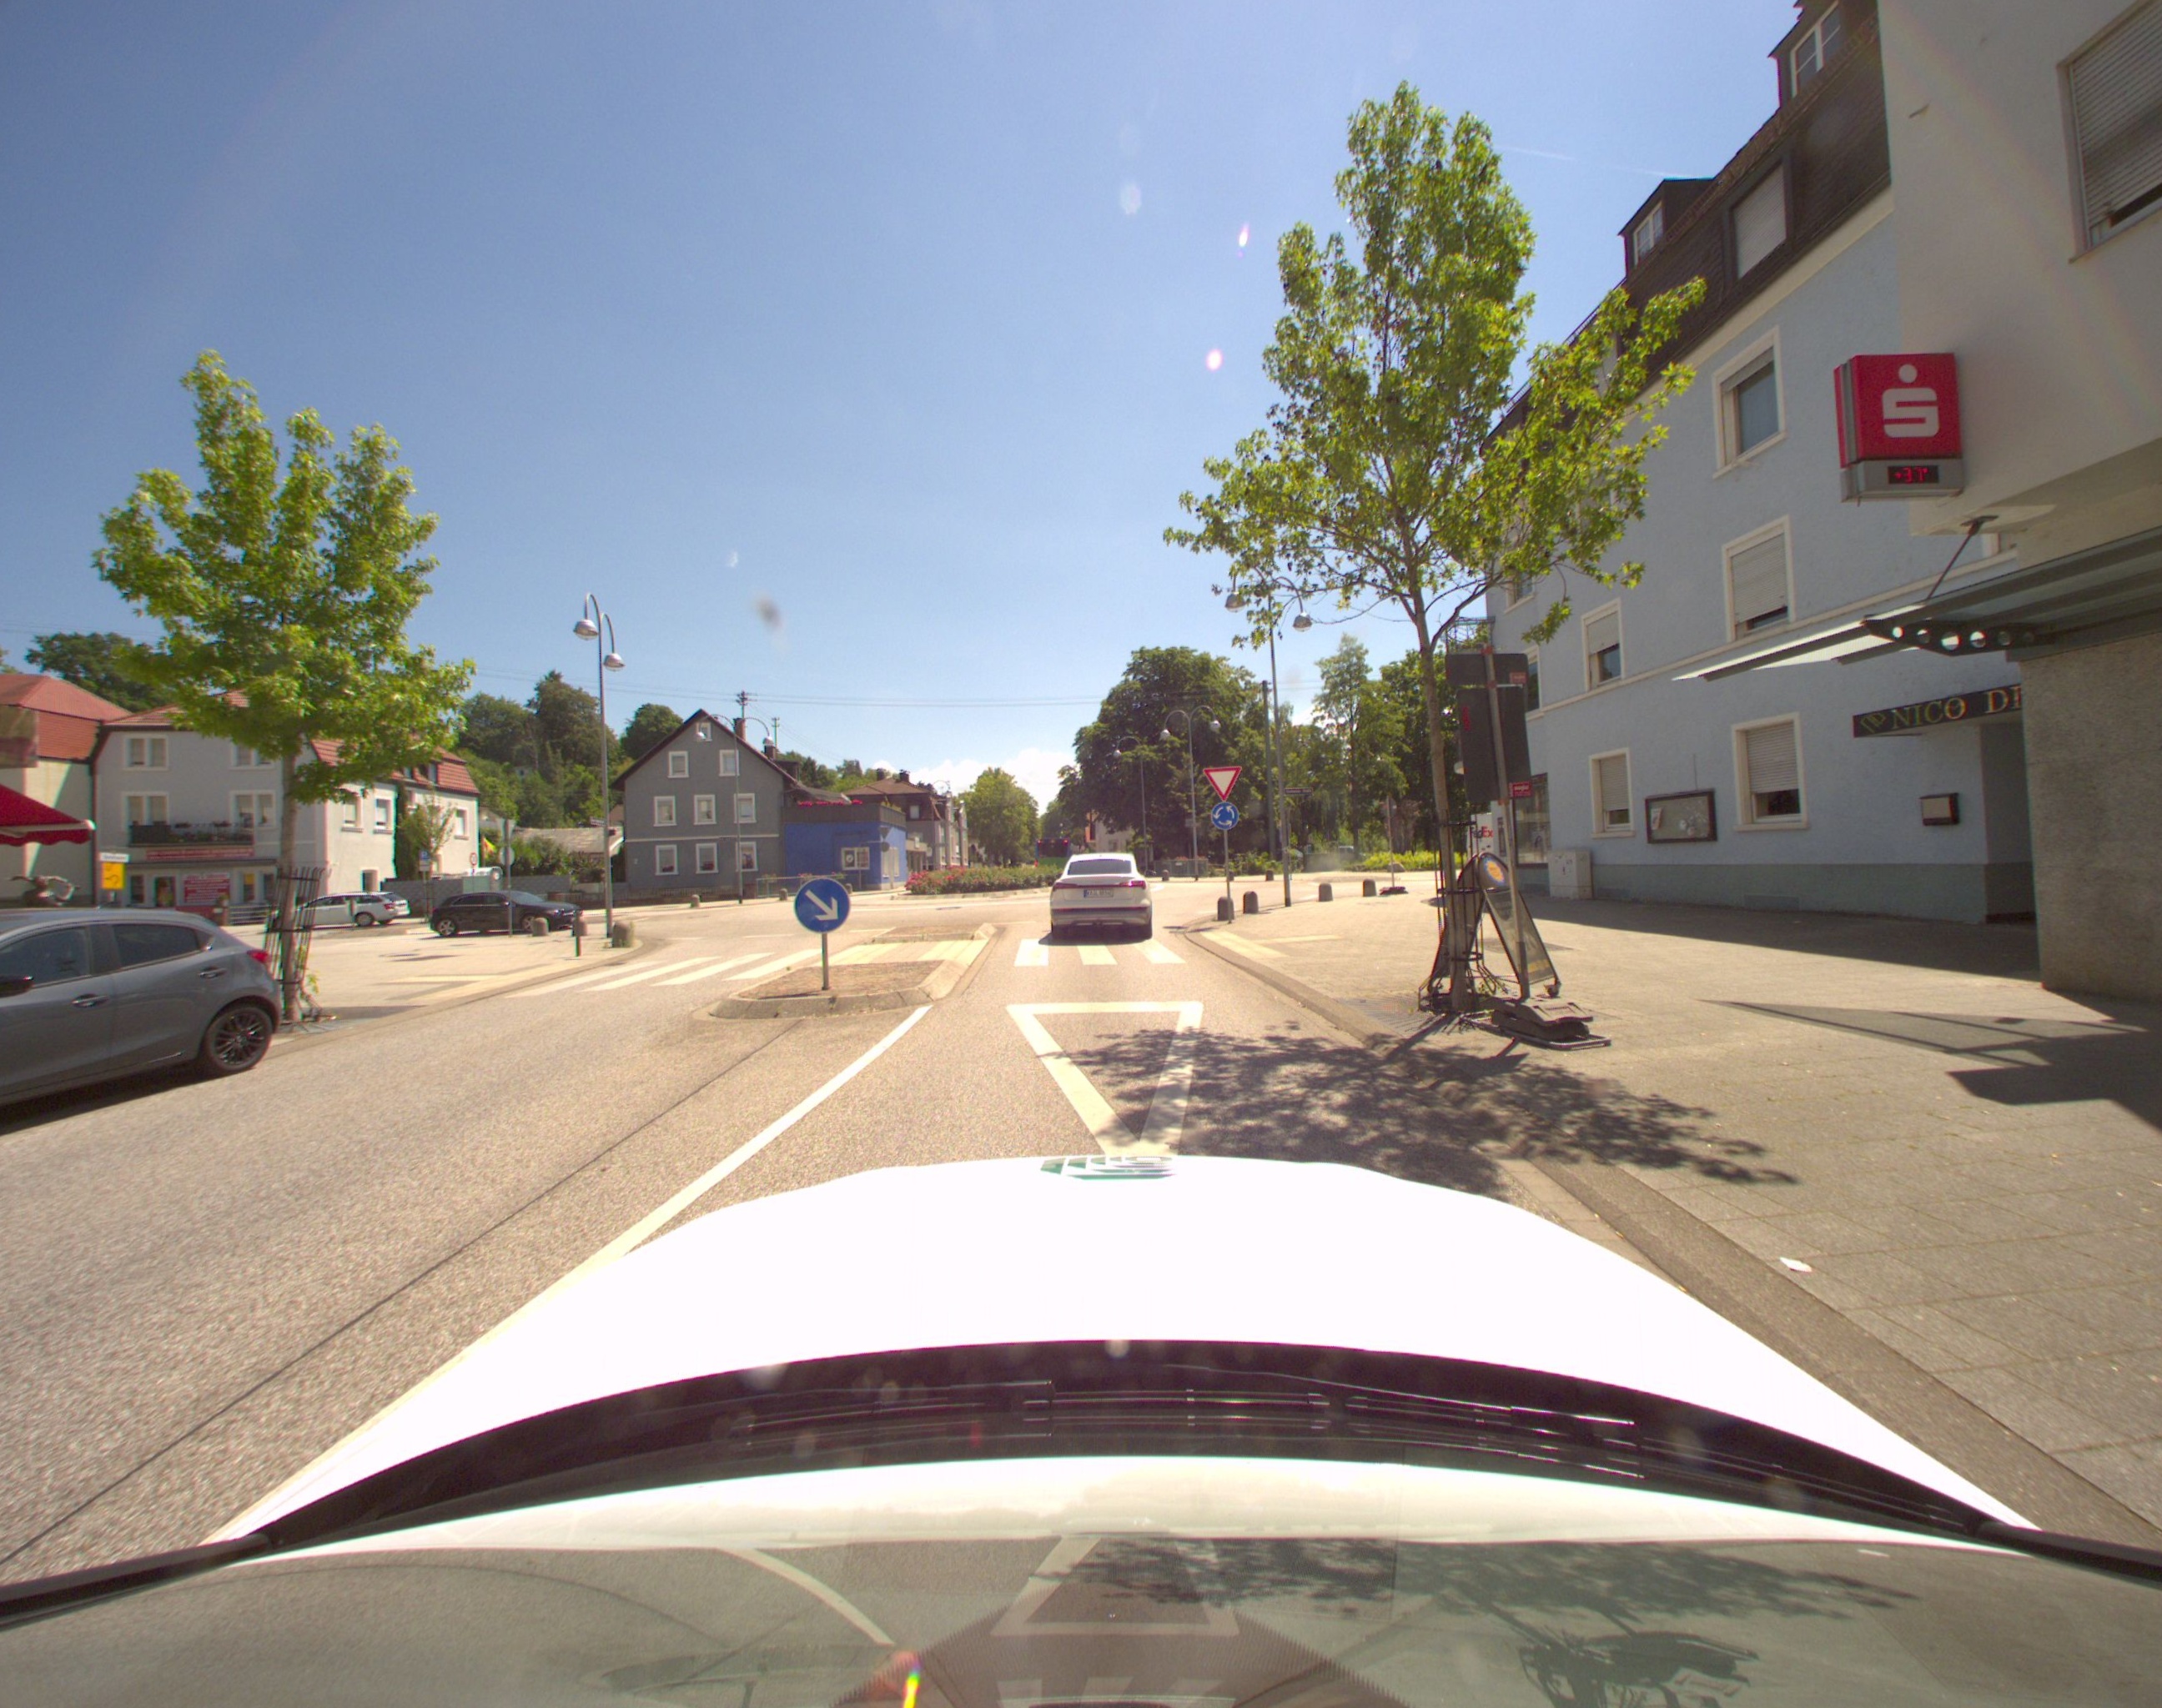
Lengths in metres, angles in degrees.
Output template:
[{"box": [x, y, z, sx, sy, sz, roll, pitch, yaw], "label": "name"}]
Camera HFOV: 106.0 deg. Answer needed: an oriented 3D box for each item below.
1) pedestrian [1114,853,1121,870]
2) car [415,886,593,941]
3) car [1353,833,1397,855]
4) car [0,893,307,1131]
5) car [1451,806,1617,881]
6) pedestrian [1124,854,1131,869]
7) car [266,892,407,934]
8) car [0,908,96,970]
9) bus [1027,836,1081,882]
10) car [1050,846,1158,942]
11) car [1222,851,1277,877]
[{"box": [3.555, 0.727, 78.682, 0.502, 1.650, 0.578, -2, 0, -7], "label": "pedestrian"}, {"box": [-19.037, 1.931, 27.043, 4.419, 1.457, 1.764, -3, 0, -7], "label": "car"}, {"box": [30.096, -0.998, 83.408, 3.951, 2.013, 2.012, -3, 0, 24], "label": "car"}, {"box": [-8.071, 1.104, 5.689, 1.664, 1.486, 4.053, 0, 0, -5], "label": "car"}, {"box": [16.858, -0.391, 30.362, 5.474, 2.481, 1.990, -3, 0, -14], "label": "car"}, {"box": [4.498, 0.729, 79.033, 0.488, 1.522, 0.541, -2, 0, -7], "label": "pedestrian"}, {"box": [-31.736, 2.484, 34.866, 4.077, 1.391, 1.599, -2, 2, -19], "label": "car"}, {"box": [-30.426, 2.399, 22.404, 3.986, 1.524, 1.791, -2, 0, -10], "label": "car"}, {"box": [-1.870, 0.474, 65.813, 3.694, 3.171, 18.065, -1, -1, 0], "label": "bus"}, {"box": [0.379, 0.715, 16.681, 1.893, 1.662, 4.407, -1, 0, -1], "label": "car"}, {"box": [10.977, 0.631, 53.111, 3.055, 1.552, 1.626, -3, 0, -15], "label": "car"}]
